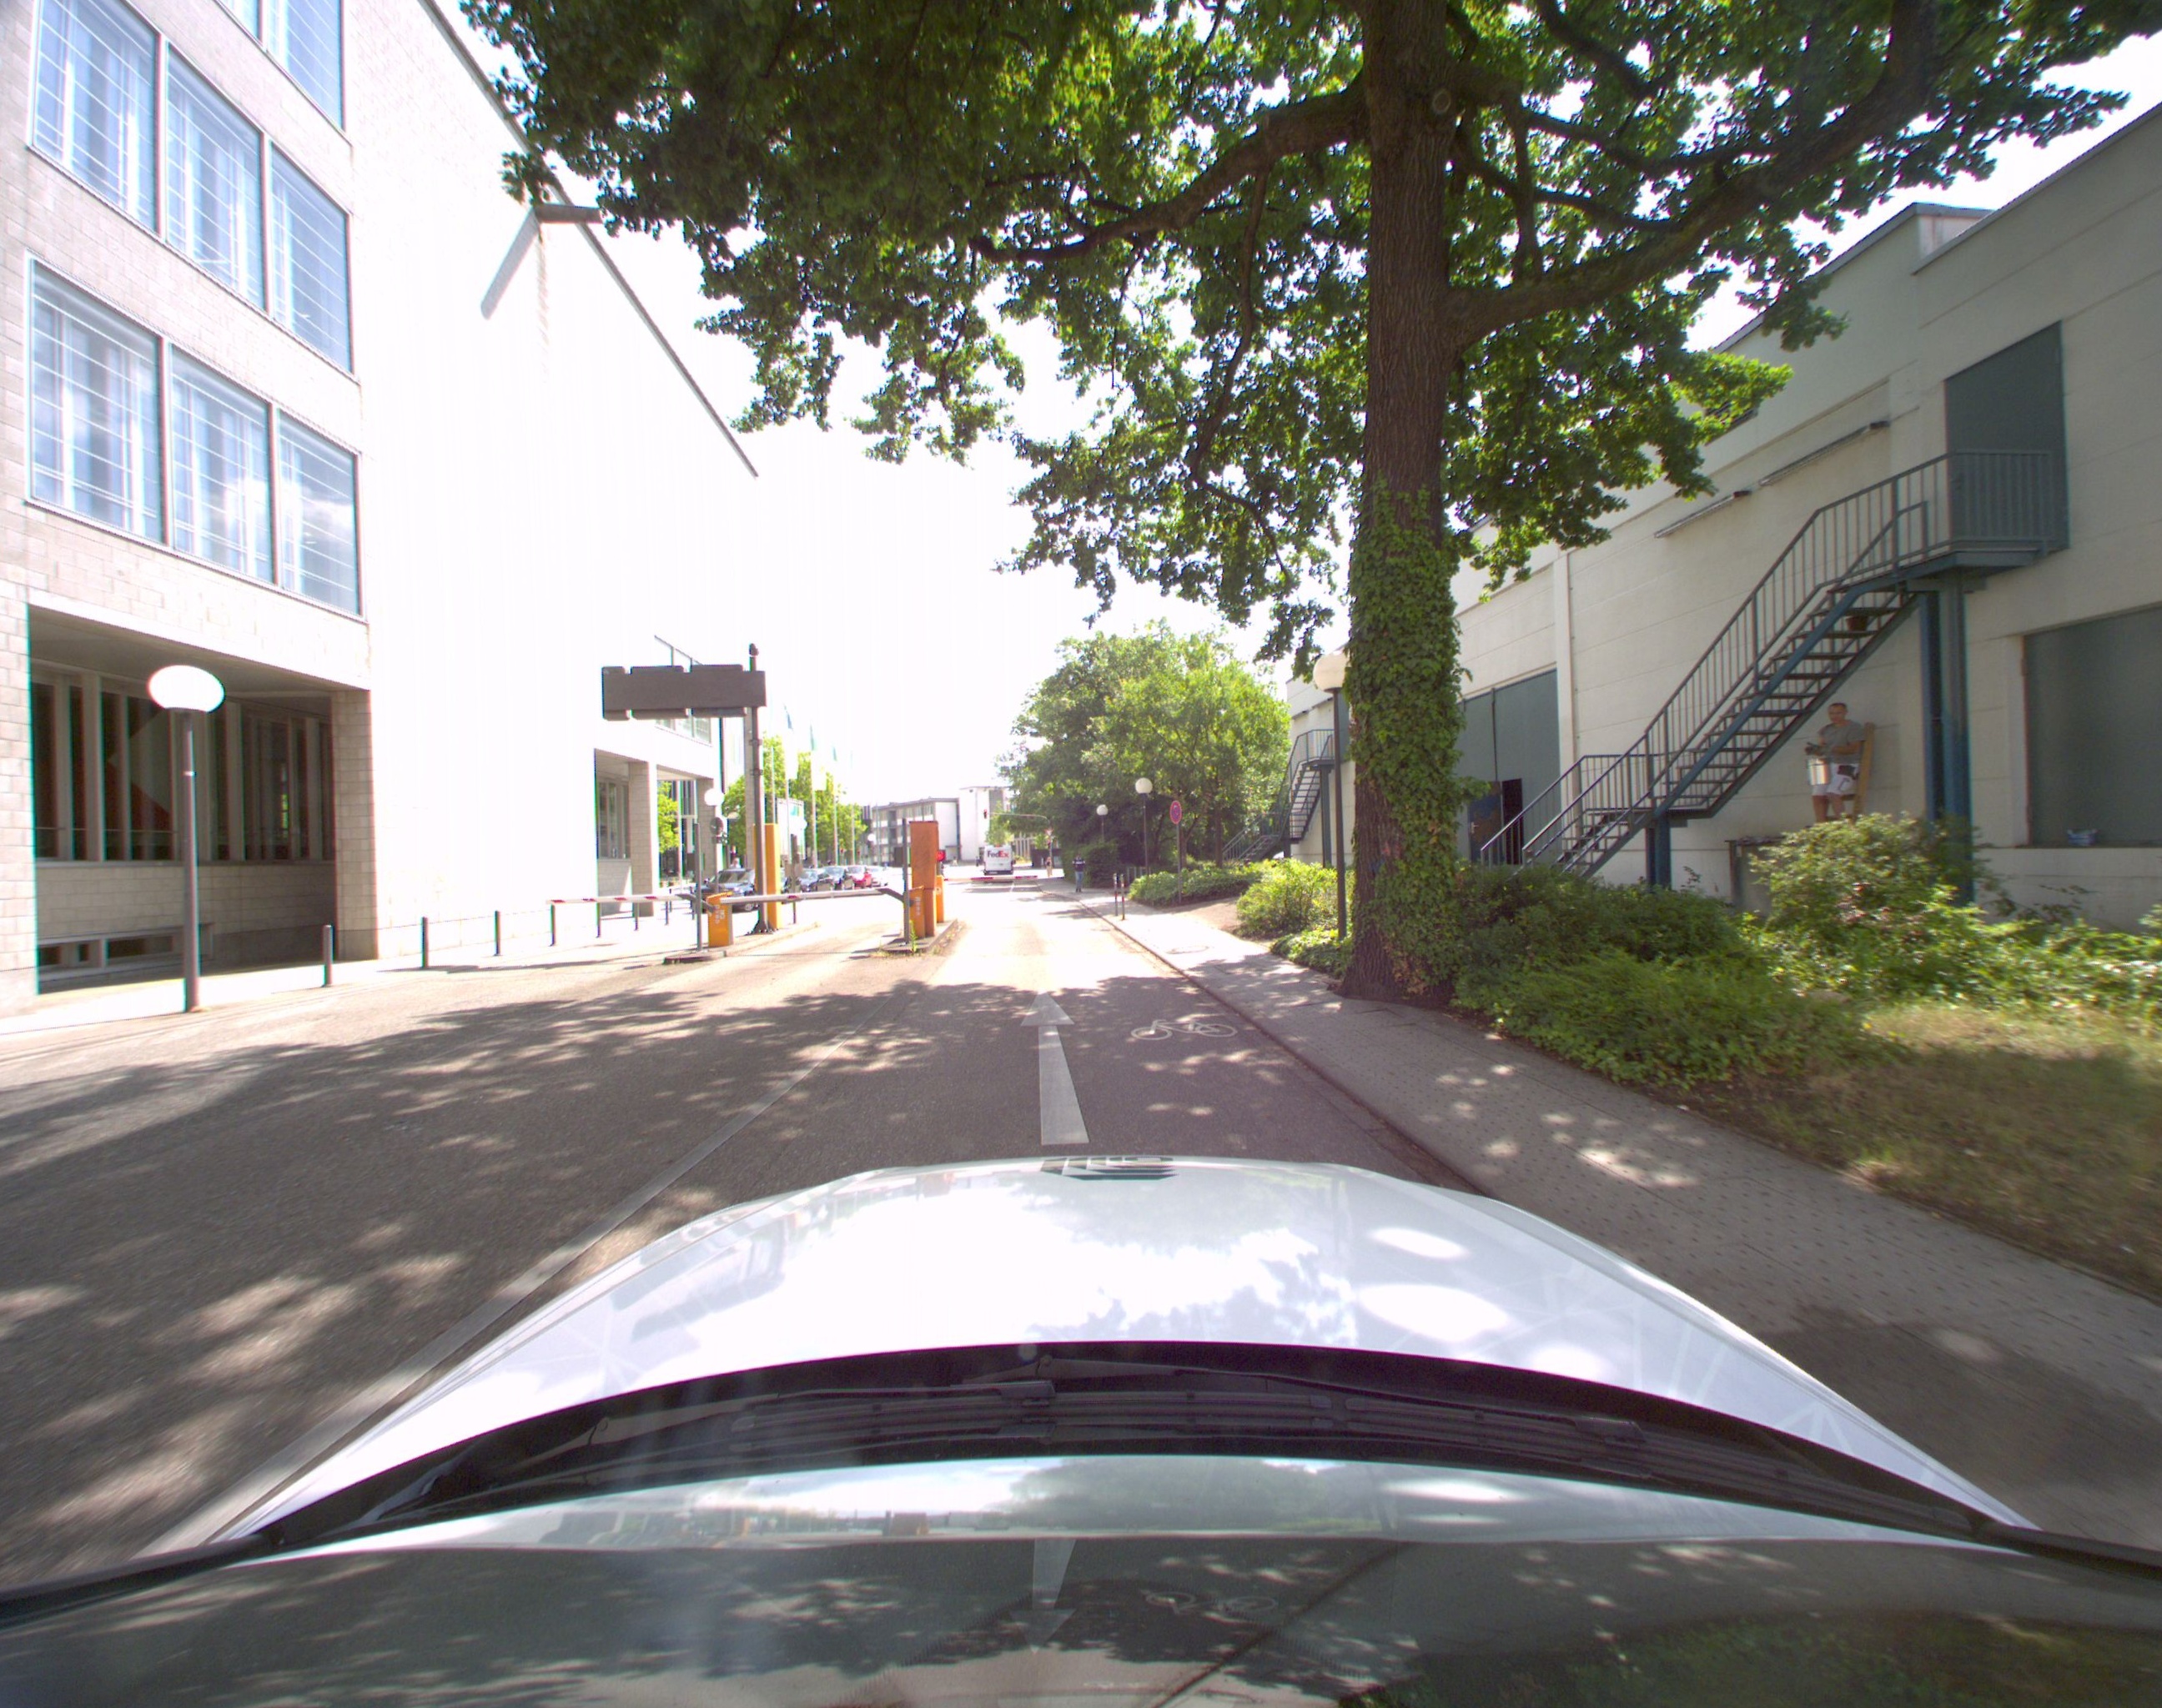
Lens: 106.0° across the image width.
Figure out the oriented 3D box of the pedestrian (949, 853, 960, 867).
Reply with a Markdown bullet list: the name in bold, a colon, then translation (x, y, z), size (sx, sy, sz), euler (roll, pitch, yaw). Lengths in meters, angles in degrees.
- **pedestrian**: translation (-18.089, 0.876, 116.492), size (1.133, 2.014, 1.159), euler (-2, 0, 9)

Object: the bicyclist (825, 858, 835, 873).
- **bicyclist**: translation (-30.545, 1.431, 99.208), size (0.785, 1.817, 1.001), euler (-2, 0, 5)

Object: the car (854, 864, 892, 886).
- **car**: translation (-14.195, 1.438, 55.887), size (1.673, 1.395, 4.656), euler (0, 0, -4)

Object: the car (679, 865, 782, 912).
- **car**: translation (-12.071, 1.142, 28.378), size (1.856, 1.467, 4.711), euler (0, 0, -5)

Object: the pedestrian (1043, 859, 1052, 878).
- **pedestrian**: translation (-2.802, 1.193, 68.158), size (0.731, 1.576, 0.773), euler (0, -1, -10)

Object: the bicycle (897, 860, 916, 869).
- **bicycle**: translation (-29.418, 1.768, 137.197), size (2.982, 1.363, 1.103), euler (-1, -1, -42)

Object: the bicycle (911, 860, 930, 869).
- **bicycle**: translation (-26.451, 1.730, 134.009), size (2.982, 1.363, 1.103), euler (-1, -1, -42)

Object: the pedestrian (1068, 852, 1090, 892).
- **pedestrian**: translation (-0.097, 0.757, 34.705), size (0.739, 1.674, 1.253), euler (-1, 0, -8)

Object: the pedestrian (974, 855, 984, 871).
- **pedestrian**: translation (-12.464, 1.099, 99.651), size (1.079, 1.870, 0.830), euler (-2, 0, -6)

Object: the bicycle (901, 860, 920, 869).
- **bicycle**: translation (-28.437, 1.749, 136.118), size (2.982, 1.363, 1.103), euler (-1, -1, -42)

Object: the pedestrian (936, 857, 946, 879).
- **pedestrian**: translation (-11.852, 1.176, 68.875), size (0.718, 1.859, 0.769), euler (-2, 0, -3)

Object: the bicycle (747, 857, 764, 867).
- **bicycle**: translation (-42.187, 1.075, 105.479), size (1.383, 1.237, 2.920), euler (-1, -1, -34)

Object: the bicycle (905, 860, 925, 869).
- **bicycle**: translation (-27.589, 1.758, 135.175), size (2.982, 1.363, 1.260), euler (-1, -1, -42)

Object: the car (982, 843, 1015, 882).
- **car**: translation (-5.735, 0.557, 56.992), size (2.092, 2.566, 5.592), euler (-2, 0, -5)

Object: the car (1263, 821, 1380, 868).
- **car**: translation (11.239, -0.429, 38.220), size (4.816, 2.013, 2.059), euler (-2, 0, -4)

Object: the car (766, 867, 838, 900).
- **car**: translation (-12.975, 1.327, 38.215), size (1.855, 1.378, 5.011), euler (0, 0, -3)

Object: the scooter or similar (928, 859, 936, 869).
- **scooter or similar**: translation (-18.543, 1.279, 101.210), size (0.718, 1.178, 2.711), euler (-1, 0, -15)

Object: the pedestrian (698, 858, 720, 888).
- **pedestrian**: translation (-23.219, 1.198, 50.850), size (0.715, 1.851, 1.091), euler (0, 0, 8)

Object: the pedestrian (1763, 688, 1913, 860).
- **pedestrian**: translation (9.412, -0.957, 10.167), size (0.924, 2.013, 0.949), euler (-2, 0, -1)

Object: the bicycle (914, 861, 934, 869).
- **bicycle**: translation (-25.629, 1.814, 132.979), size (2.982, 1.363, 1.103), euler (-1, -1, -42)

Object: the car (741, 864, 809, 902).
- **car**: translation (-12.583, 1.148, 33.655), size (1.636, 1.467, 3.700), euler (0, 0, -5)

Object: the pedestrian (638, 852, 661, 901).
- **pedestrian**: translation (-21.549, 1.105, 40.647), size (0.750, 2.422, 0.743), euler (-2, -1, 40)

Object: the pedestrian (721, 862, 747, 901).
- **pedestrian**: translation (-18.367, 1.420, 43.134), size (0.984, 2.013, 1.161), euler (-1, 0, -9)

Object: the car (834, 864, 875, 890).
- **car**: translation (-14.091, 1.410, 50.889), size (1.673, 1.467, 3.905), euler (0, 0, -4)

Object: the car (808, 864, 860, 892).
- **car**: translation (-13.711, 1.320, 45.457), size (1.744, 1.467, 4.192), euler (0, 0, -3)

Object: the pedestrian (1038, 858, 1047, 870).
- **pedestrian**: translation (-4.717, 1.231, 100.528), size (0.828, 1.523, 0.808), euler (-1, 0, -24)
